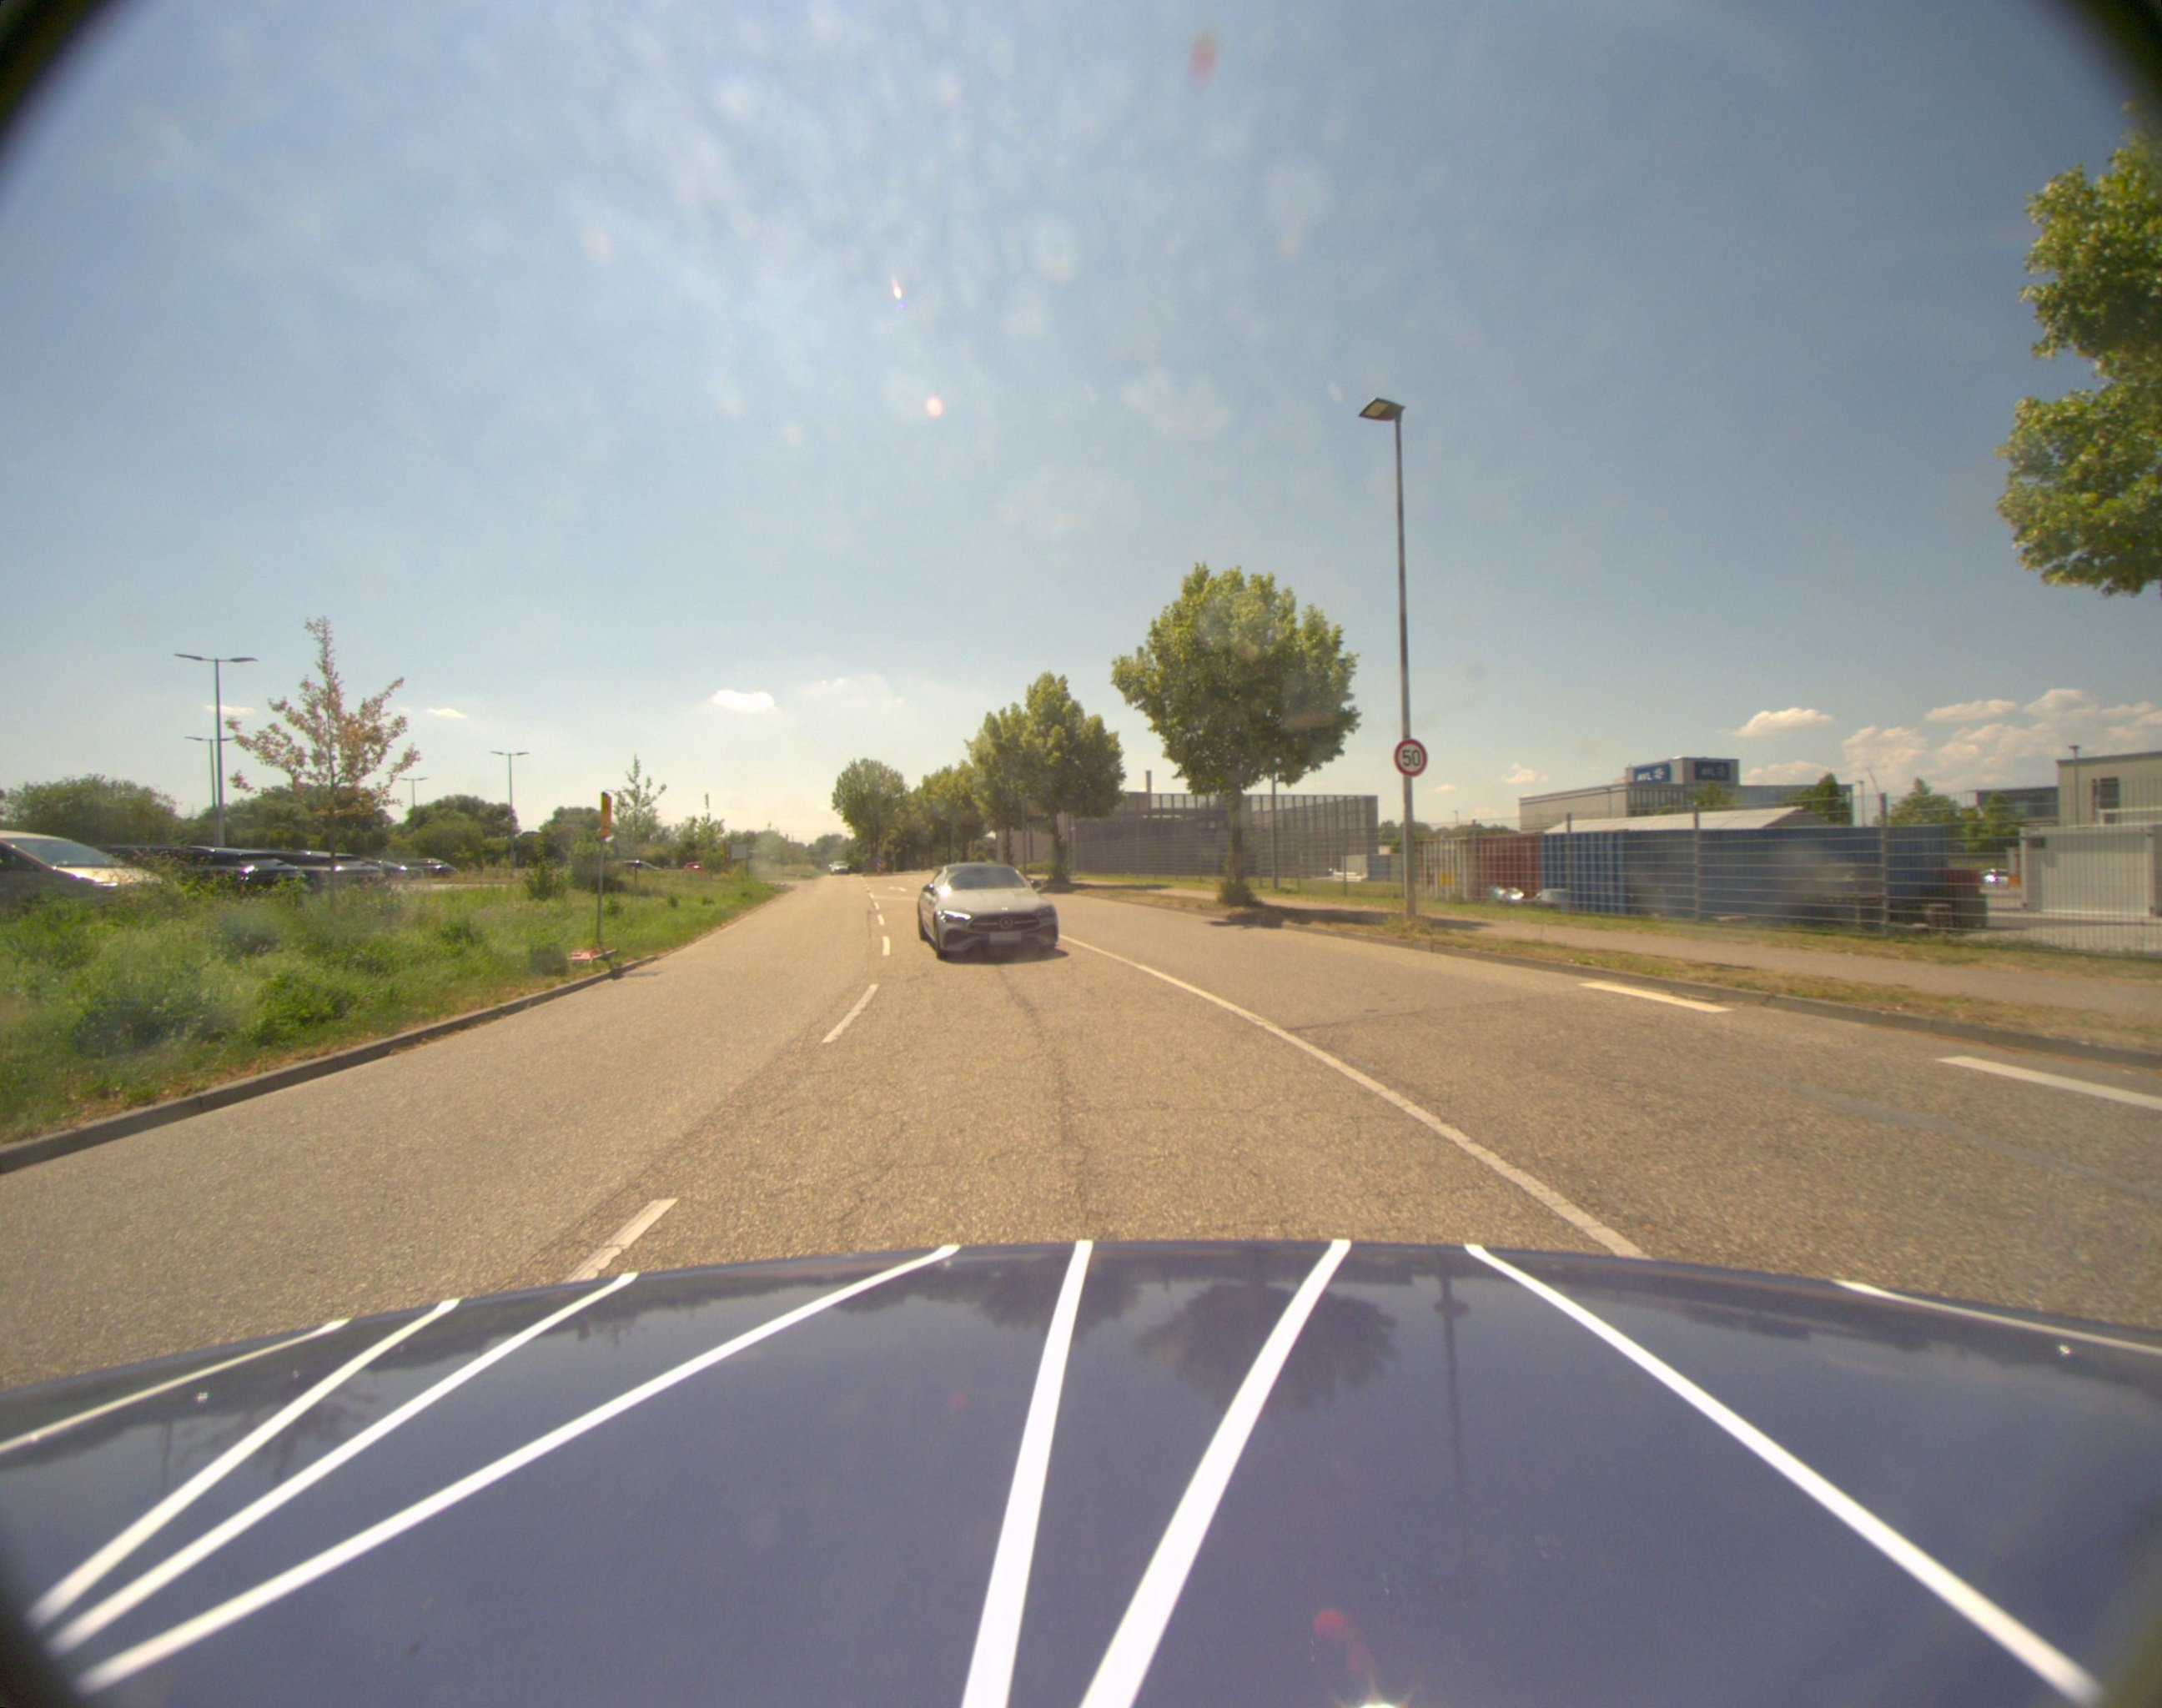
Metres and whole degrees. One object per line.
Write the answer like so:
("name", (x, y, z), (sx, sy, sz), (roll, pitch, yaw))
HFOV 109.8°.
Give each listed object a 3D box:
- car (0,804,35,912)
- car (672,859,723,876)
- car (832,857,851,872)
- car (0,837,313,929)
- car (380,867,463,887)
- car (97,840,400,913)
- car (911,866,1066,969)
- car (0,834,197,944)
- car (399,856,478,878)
("car", (-16.058, 0.244, 8.945), (4.042, 1.422, 1.684), (-6, 3, -19))
("car", (-35.603, 1.256, 70.681), (4.003, 1.343, 1.643), (-3, 2, -21))
("car", (-24.809, 1.058, 78.918), (1.675, 1.367, 4.490), (-4, 1, -16))
("car", (-17.375, 0.479, 13.839), (4.406, 1.536, 1.812), (0, 0, -18))
("car", (-45.671, 1.555, 52.690), (4.004, 1.343, 1.644), (0, 0, -21))
("car", (-18.001, 0.428, 16.703), (4.002, 1.284, 1.906), (-3, 2, -16))
("car", (-1.811, 0.934, 13.235), (1.900, 1.375, 4.627), (-2, 0, -17))
("car", (-16.787, 0.517, 11.683), (3.853, 1.614, 1.614), (0, 0, -19))
("car", (-46.651, 0.897, 55.255), (4.003, 1.343, 1.643), (-3, 2, -21))
